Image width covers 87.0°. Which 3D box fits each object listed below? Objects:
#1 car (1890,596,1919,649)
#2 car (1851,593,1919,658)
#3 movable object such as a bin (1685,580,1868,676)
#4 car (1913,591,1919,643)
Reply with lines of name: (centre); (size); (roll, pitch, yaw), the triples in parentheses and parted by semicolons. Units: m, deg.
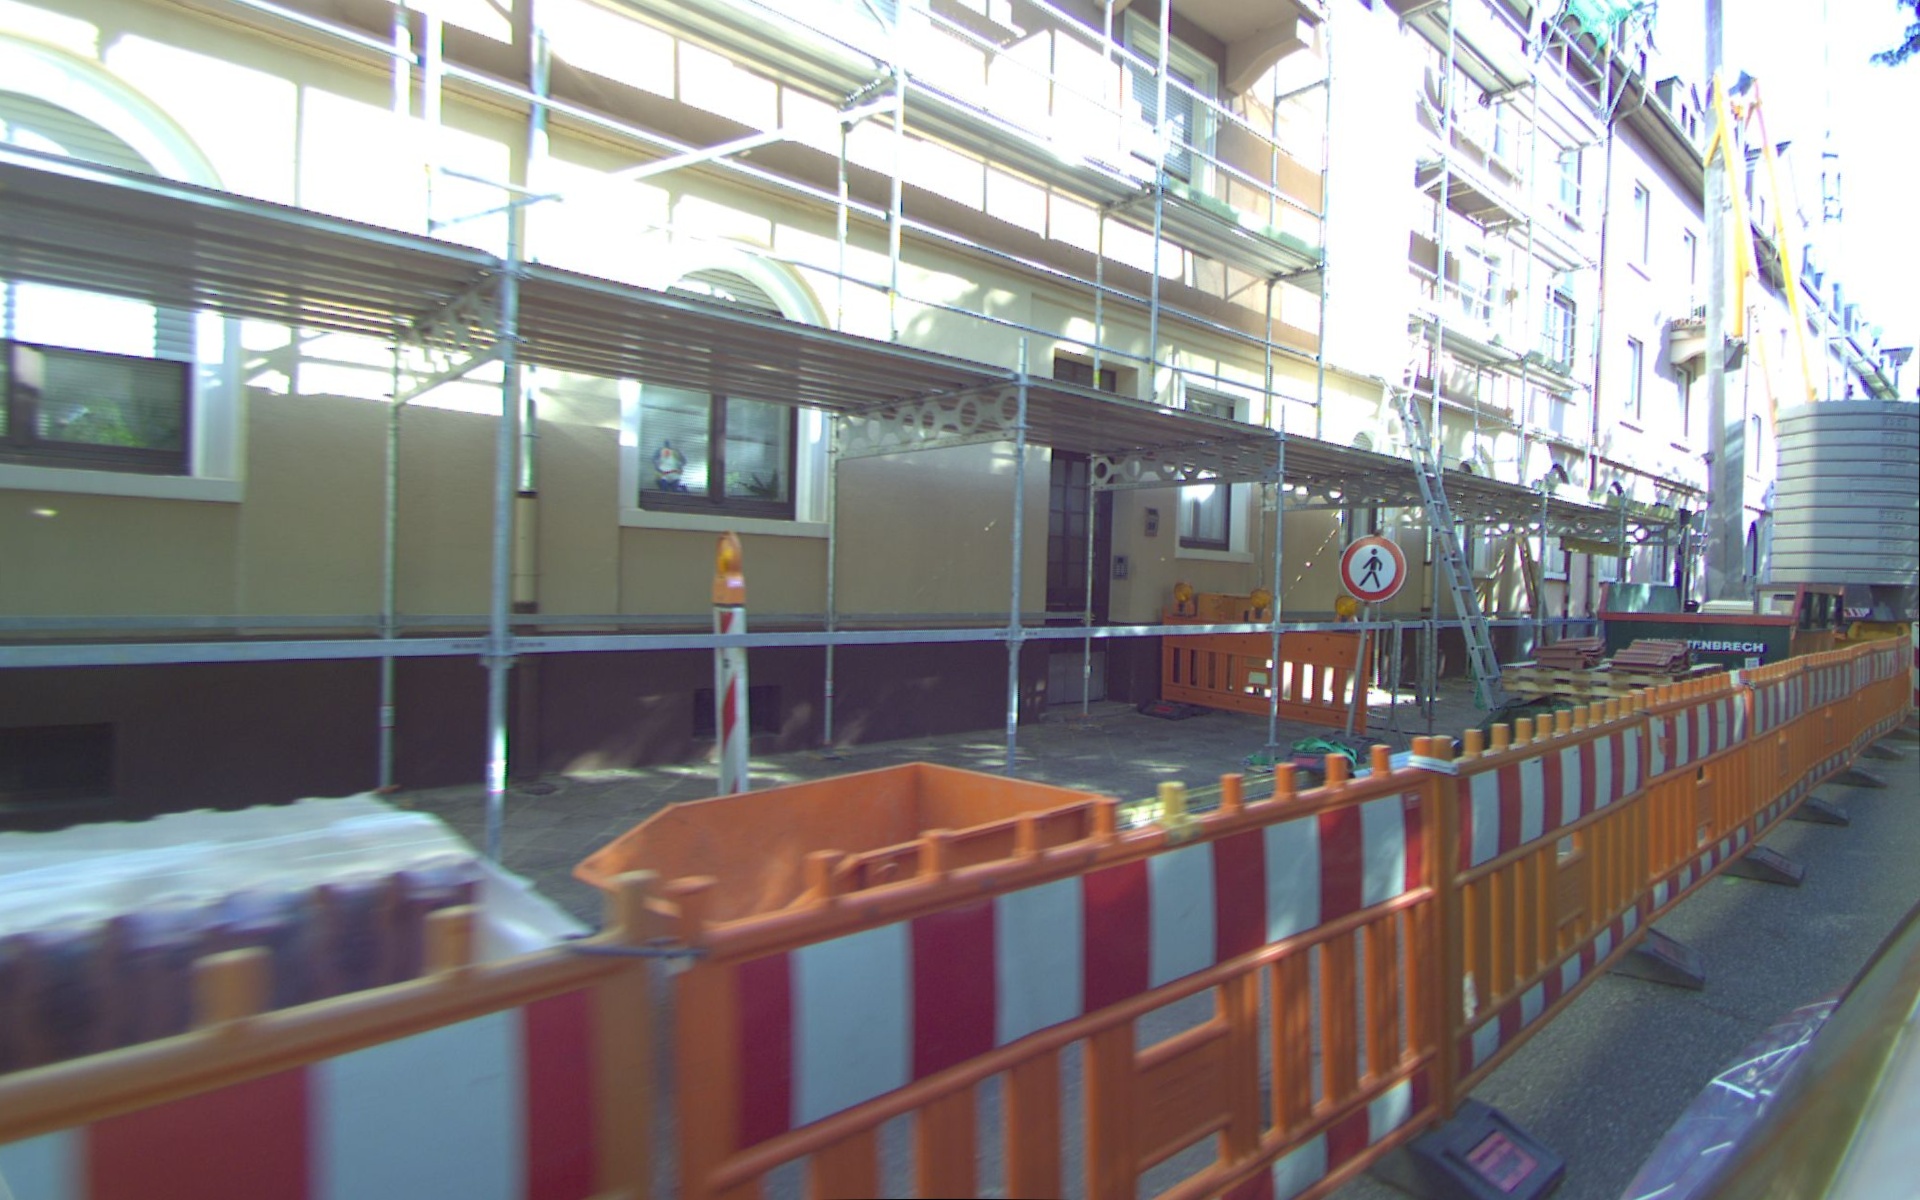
car: (28.083, 0.656, 29.202); (1.668, 1.445, 3.909); (3, 2, 44)
car: (23.849, 0.615, 25.396); (4.171, 1.482, 1.764); (0, 2, -42)
movable object such as a bin: (14.336, 0.462, 17.874); (1.595, 1.545, 1.880); (2, 1, -7)
car: (31.883, 0.572, 32.385); (4.201, 1.619, 1.669); (0, 2, -43)
